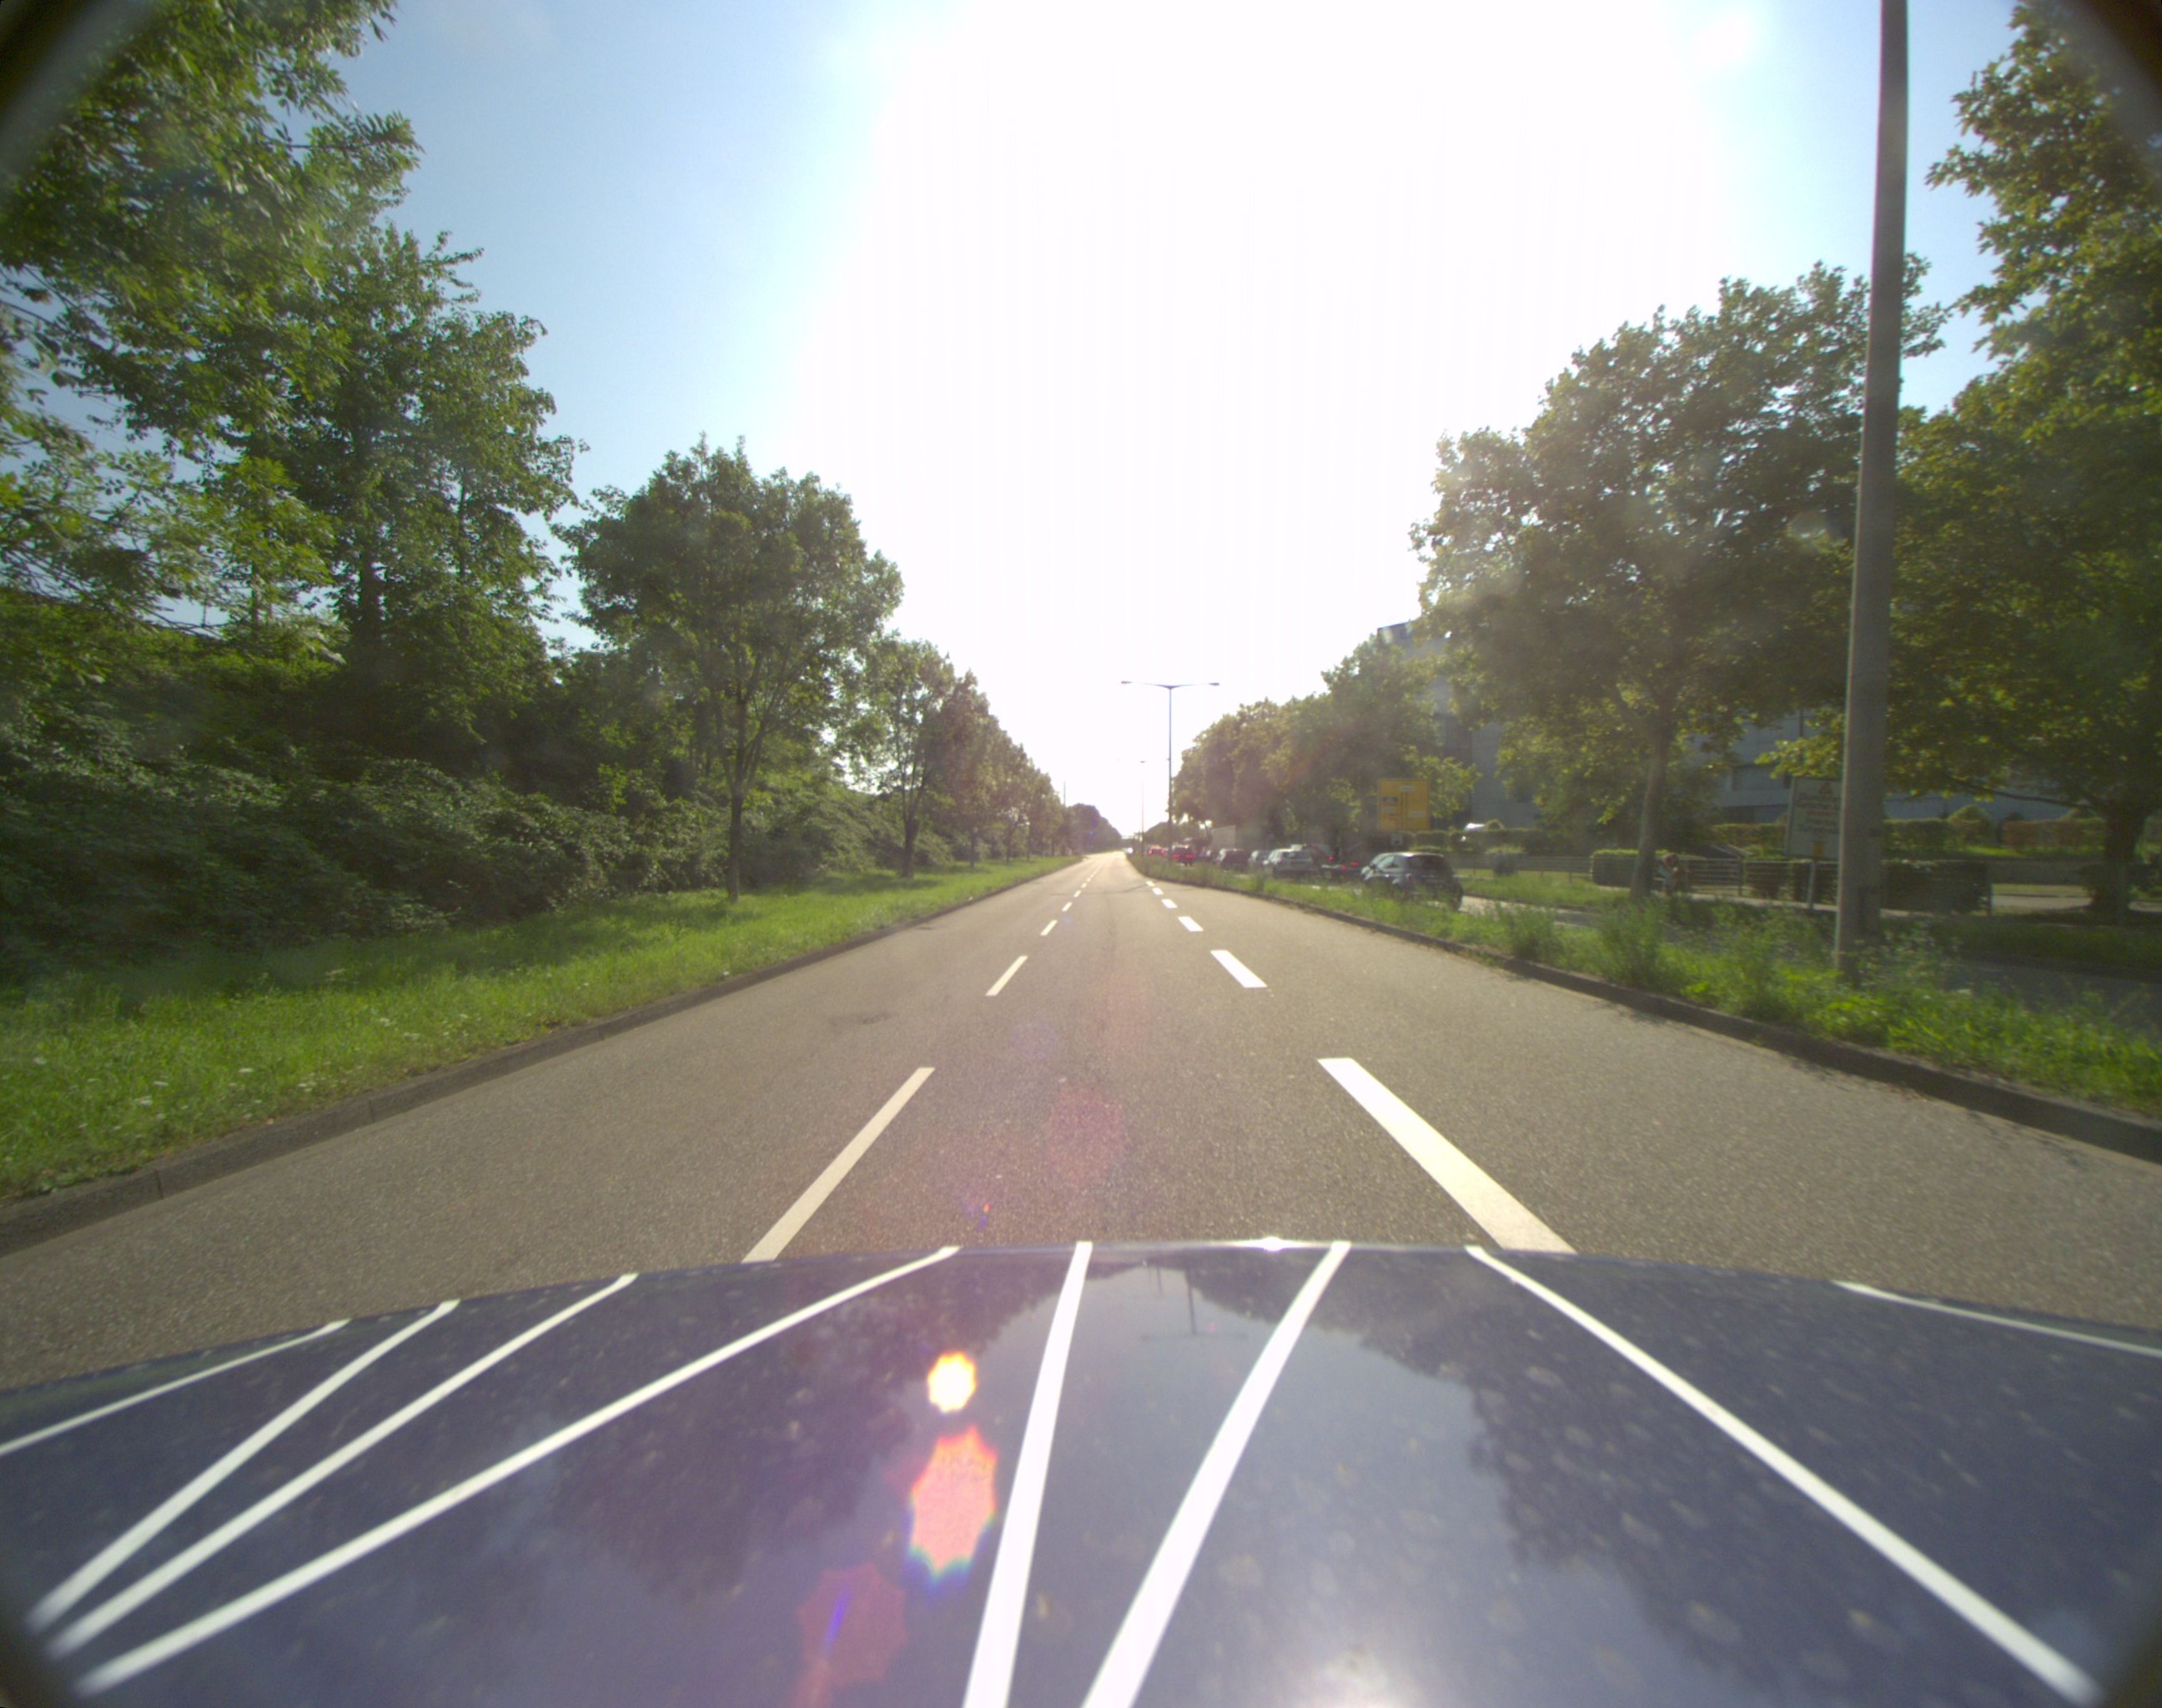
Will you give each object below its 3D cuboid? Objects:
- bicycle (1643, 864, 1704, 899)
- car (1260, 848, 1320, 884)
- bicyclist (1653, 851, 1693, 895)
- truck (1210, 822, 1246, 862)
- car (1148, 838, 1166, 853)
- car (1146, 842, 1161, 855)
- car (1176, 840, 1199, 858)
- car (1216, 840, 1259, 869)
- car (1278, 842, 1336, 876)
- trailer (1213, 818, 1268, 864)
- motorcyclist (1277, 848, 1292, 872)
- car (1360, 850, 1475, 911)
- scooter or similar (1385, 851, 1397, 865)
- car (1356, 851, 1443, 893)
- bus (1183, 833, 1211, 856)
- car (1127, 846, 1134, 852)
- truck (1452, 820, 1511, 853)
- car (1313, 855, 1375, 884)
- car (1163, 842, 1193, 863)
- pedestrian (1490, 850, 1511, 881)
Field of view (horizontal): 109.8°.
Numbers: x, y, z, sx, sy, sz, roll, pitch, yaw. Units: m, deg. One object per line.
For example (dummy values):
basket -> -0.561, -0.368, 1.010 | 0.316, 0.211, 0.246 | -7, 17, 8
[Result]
bicycle -> 19.738, 0.901, 25.357 | 0.649, 1.101, 1.800 | 0, 1, 2
car -> 9.839, 0.506, 36.053 | 1.884, 1.584, 4.108 | 0, 1, 2
bicyclist -> 19.730, 0.611, 25.327 | 0.649, 1.431, 0.840 | 0, 1, 2
truck -> 14.714, -1.224, 76.342 | 2.613, 3.798, 5.891 | 1, 1, 3
car -> 9.059, -0.999, 90.785 | 1.958, 1.714, 4.588 | 1, 0, 3
car -> 10.294, -0.779, 108.238 | 1.916, 1.853, 4.890 | 0, 0, 2
car -> 11.877, -0.515, 84.801 | 1.998, 1.942, 5.036 | 0, 0, 2
car -> 10.050, 0.024, 49.054 | 1.998, 1.749, 4.307 | 2, 1, 2
car -> 12.897, 0.241, 43.715 | 1.989, 1.848, 4.969 | 2, 1, 3
trailer -> 14.415, -1.143, 69.748 | 2.639, 3.800, 13.812 | 1, 1, 3
motorcyclist -> 13.440, 0.399, 50.308 | 0.779, 1.545, 0.922 | -1, 1, 4
car -> 9.058, 0.653, 20.763 | 1.680, 1.477, 3.492 | -1, 1, 2
scooter or similar -> 24.555, 0.319, 60.180 | 0.510, 1.121, 1.381 | -1, 1, 4
car -> 12.314, 0.652, 29.667 | 1.795, 1.473, 4.000 | 0, 1, 1
bus -> 16.364, -1.370, 107.847 | 2.596, 3.062, 12.313 | -1, 1, 3
car -> 12.207, -1.205, 186.696 | 1.544, 1.433, 3.397 | 0, -1, 6
truck -> 36.162, -1.606, 68.505 | 5.915, 2.844, 2.233 | -1, 1, -35
car -> 12.587, 0.712, 36.597 | 1.794, 1.255, 4.096 | 1, 1, 4
car -> 8.331, -0.127, 65.372 | 1.998, 1.749, 4.476 | 0, 0, 0
pedestrian -> 22.994, 0.615, 41.671 | 0.618, 1.643, 0.934 | -1, 1, 2
